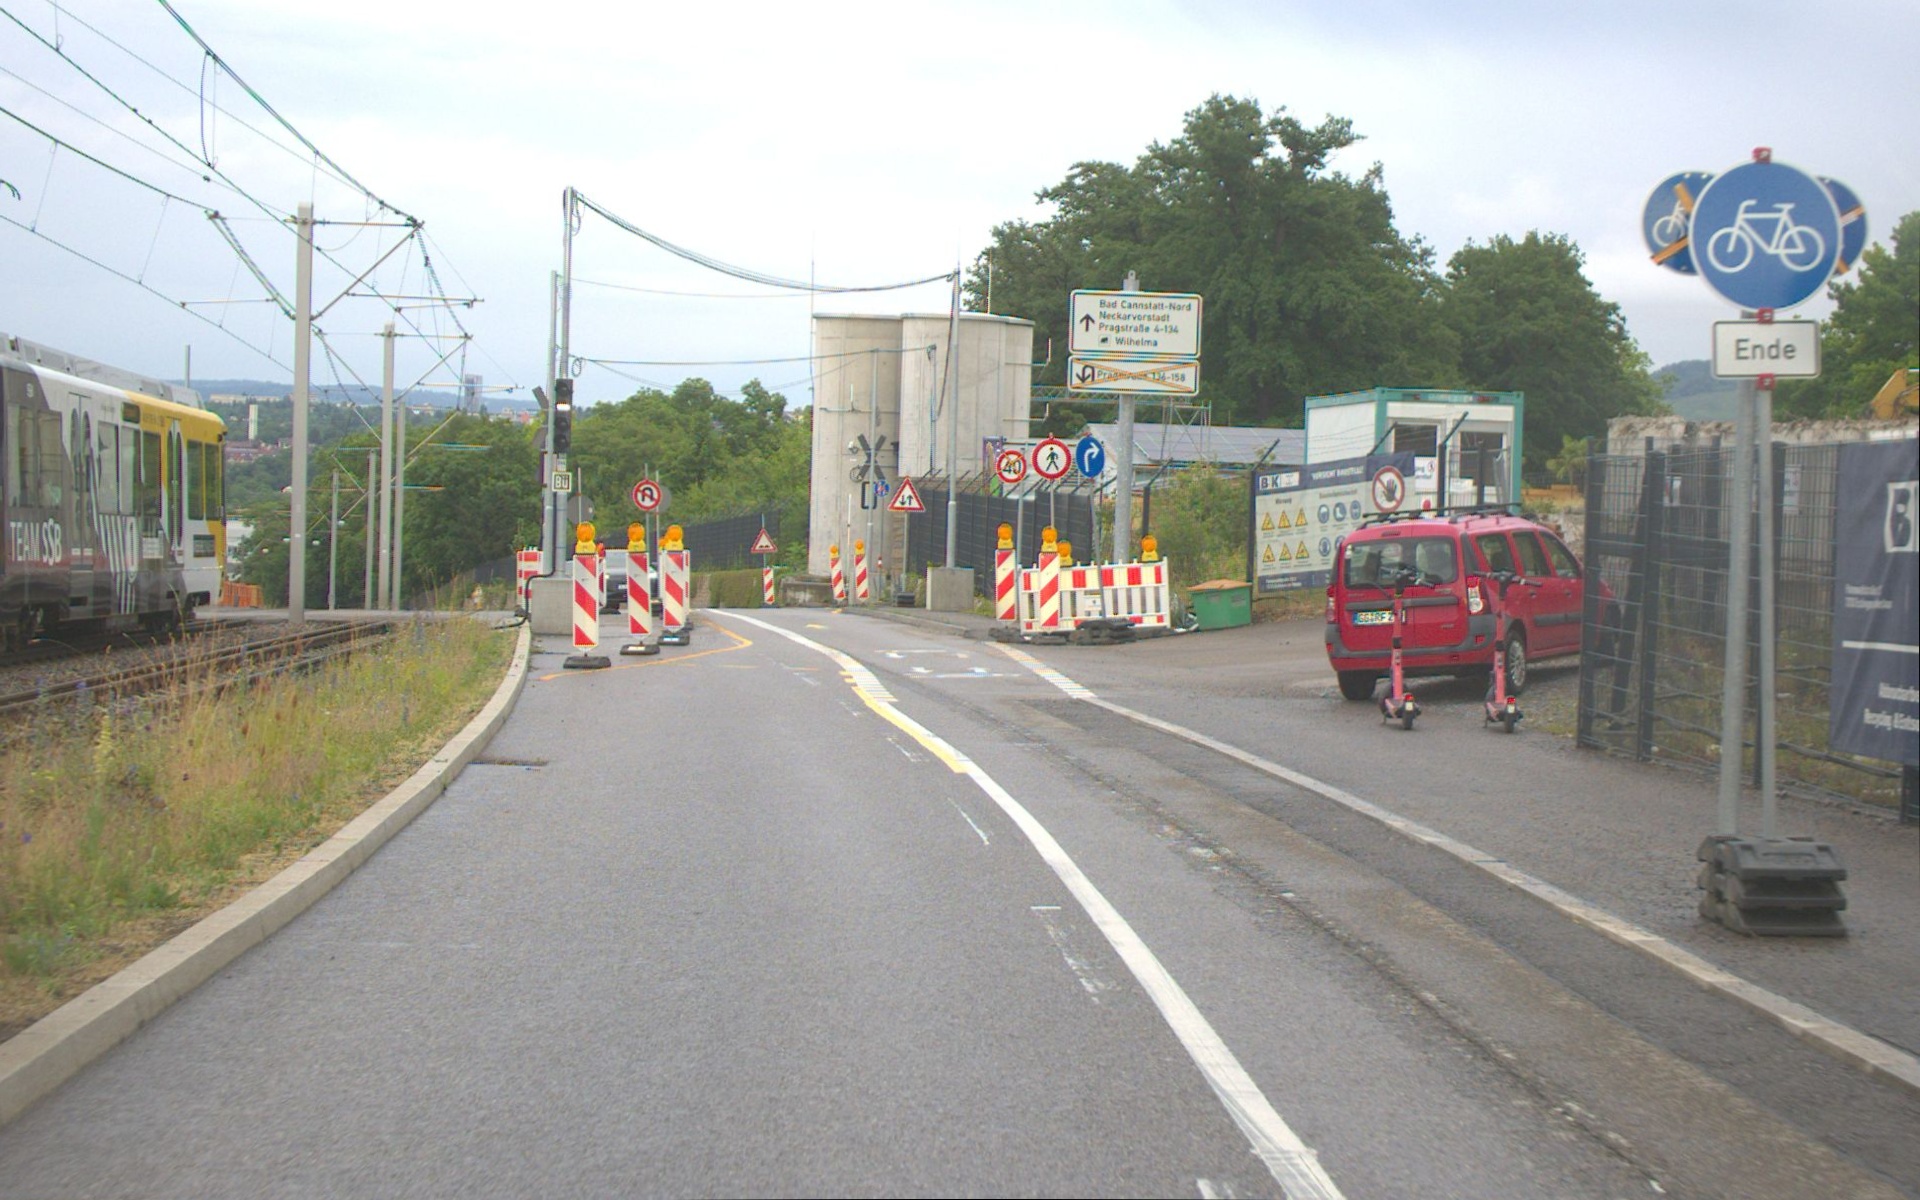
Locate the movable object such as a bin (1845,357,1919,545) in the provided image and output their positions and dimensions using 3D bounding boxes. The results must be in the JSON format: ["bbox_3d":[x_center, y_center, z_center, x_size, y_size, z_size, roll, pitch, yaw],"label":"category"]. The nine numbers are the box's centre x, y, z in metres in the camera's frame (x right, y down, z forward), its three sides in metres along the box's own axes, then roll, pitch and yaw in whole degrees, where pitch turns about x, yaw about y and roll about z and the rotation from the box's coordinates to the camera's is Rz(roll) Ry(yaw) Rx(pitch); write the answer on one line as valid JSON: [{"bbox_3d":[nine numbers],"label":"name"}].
[{"bbox_3d":[34.704,-4.743,111.269,11.233,5.975,3.490,1,0,5],"label":"movable object such as a bin"}]

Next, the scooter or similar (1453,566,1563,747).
[{"bbox_3d":[4.299,0.422,27.071,0.615,1.347,1.912,1,1,3],"label":"scooter or similar"}]

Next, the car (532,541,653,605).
[{"bbox_3d":[-10.002,-0.725,93.295,1.993,1.672,4.489,0,0,-24],"label":"car"}]

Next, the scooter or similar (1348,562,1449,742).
[{"bbox_3d":[3.444,0.385,27.111,0.615,1.347,1.912,1,1,3],"label":"scooter or similar"}]

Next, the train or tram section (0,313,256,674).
[{"bbox_3d":[-12.376,-1.348,46.105,2.955,3.872,19.294,2,1,-4],"label":"train or tram section"}]

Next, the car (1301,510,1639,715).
[{"bbox_3d":[4.931,0.086,32.760,1.822,1.787,4.402,2,1,27],"label":"car"}]
